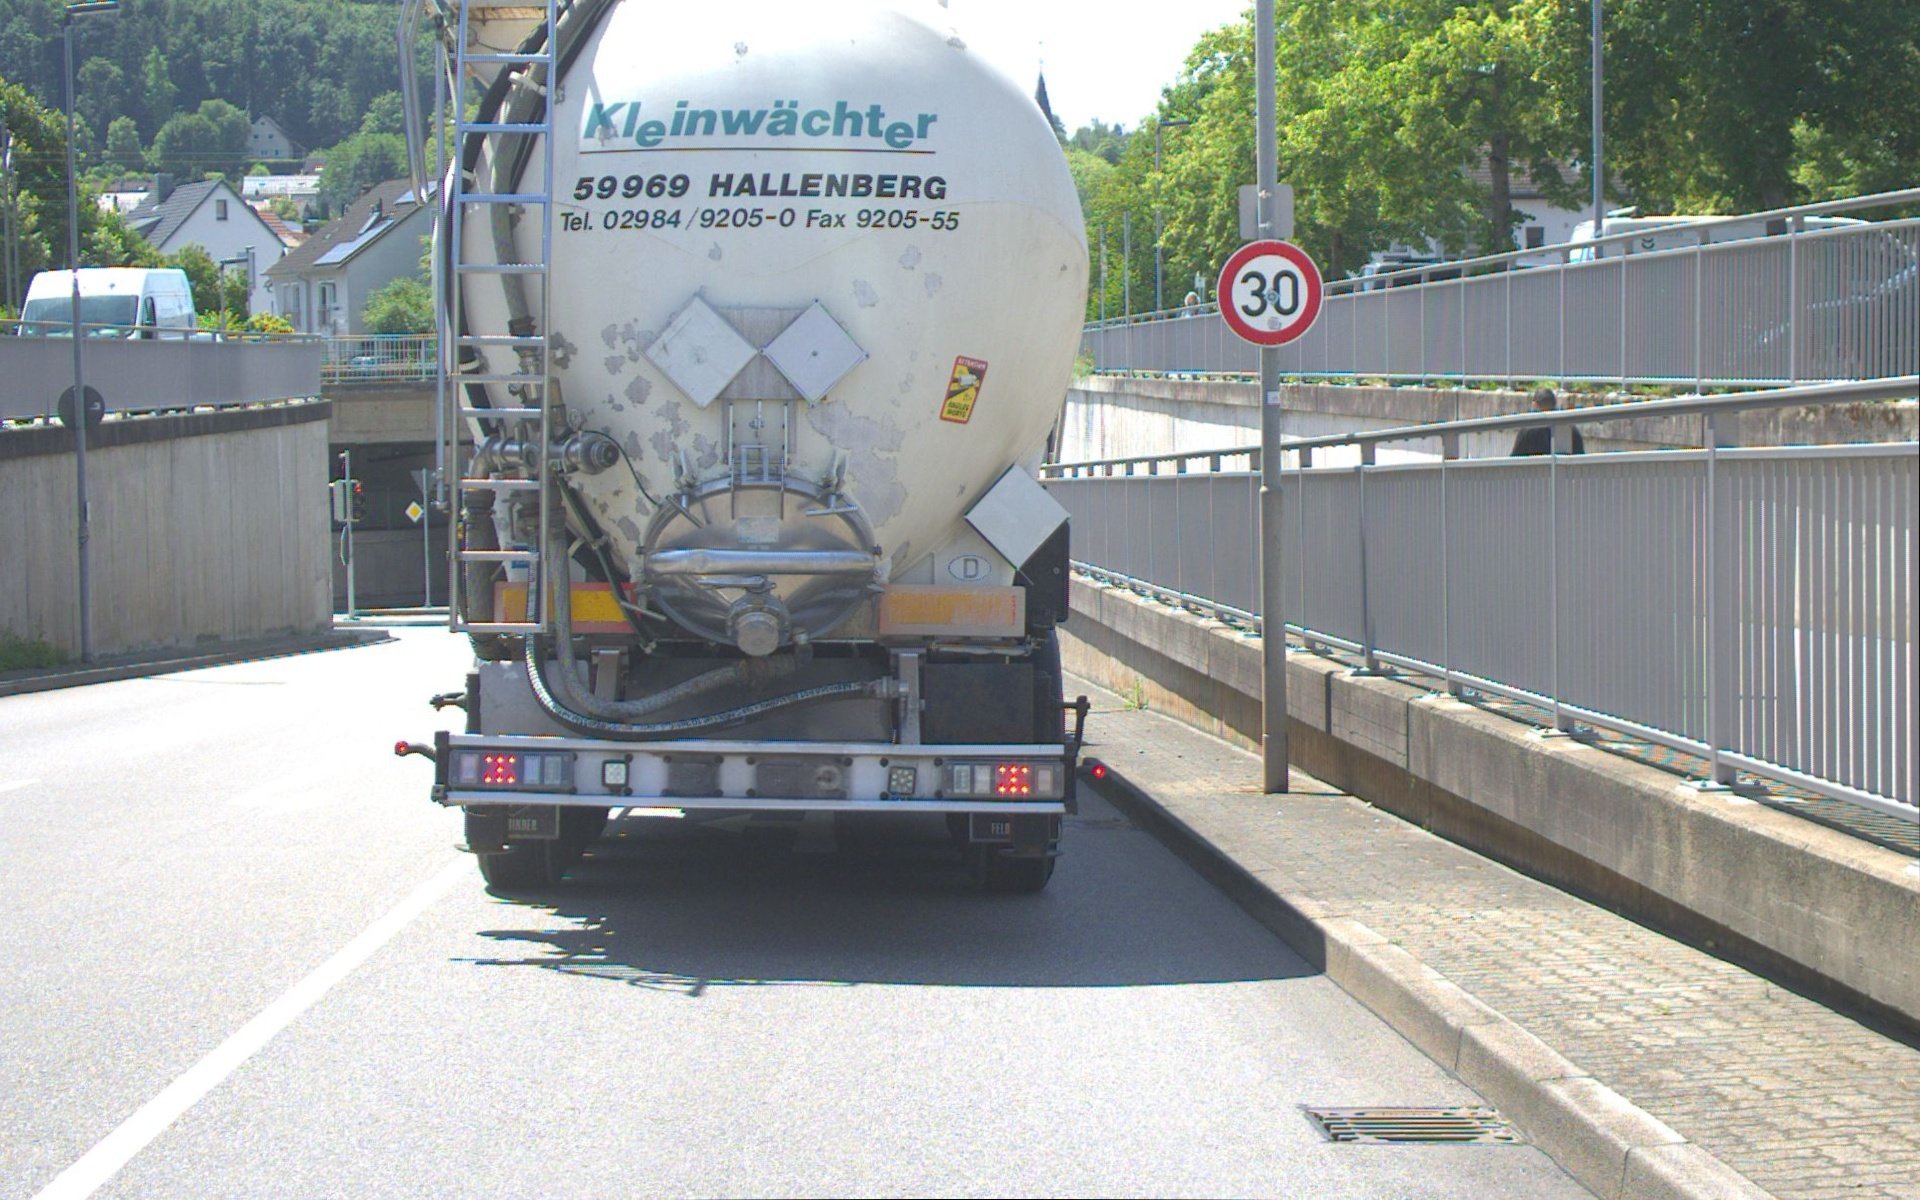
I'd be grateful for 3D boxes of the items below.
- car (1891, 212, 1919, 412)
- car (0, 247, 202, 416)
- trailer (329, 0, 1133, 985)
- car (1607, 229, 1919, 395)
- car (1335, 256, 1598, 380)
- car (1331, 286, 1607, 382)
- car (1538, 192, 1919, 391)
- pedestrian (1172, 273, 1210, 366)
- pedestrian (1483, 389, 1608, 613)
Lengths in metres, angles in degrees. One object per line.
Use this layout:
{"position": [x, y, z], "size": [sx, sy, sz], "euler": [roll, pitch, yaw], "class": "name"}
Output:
{"position": [9.265, -2.178, 25.592], "size": [4.204, 1.493, 1.686], "euler": [-1, 4, -1], "class": "car"}
{"position": [-13.603, -4.249, 54.789], "size": [2.065, 2.527, 5.663], "euler": [1, 4, -3], "class": "car"}
{"position": [-0.949, -0.823, 18.646], "size": [2.735, 4.050, 13.314], "euler": [1, 1, -1], "class": "trailer"}
{"position": [8.849, -2.927, 34.958], "size": [4.204, 1.590, 1.686], "euler": [-1, 4, -1], "class": "car"}
{"position": [8.016, -4.466, 54.611], "size": [3.905, 1.878, 1.686], "euler": [-1, 4, -1], "class": "car"}
{"position": [7.667, -4.024, 52.018], "size": [3.905, 1.362, 1.686], "euler": [-1, 4, -1], "class": "car"}
{"position": [9.083, -3.373, 37.729], "size": [5.112, 2.056, 1.989], "euler": [-1, 4, -1], "class": "car"}
{"position": [4.490, -5.448, 66.871], "size": [0.673, 1.773, 0.594], "euler": [-1, 3, 0], "class": "pedestrian"}
{"position": [4.736, -0.801, 27.838], "size": [0.836, 1.775, 0.788], "euler": [-1, 2, -2], "class": "pedestrian"}
